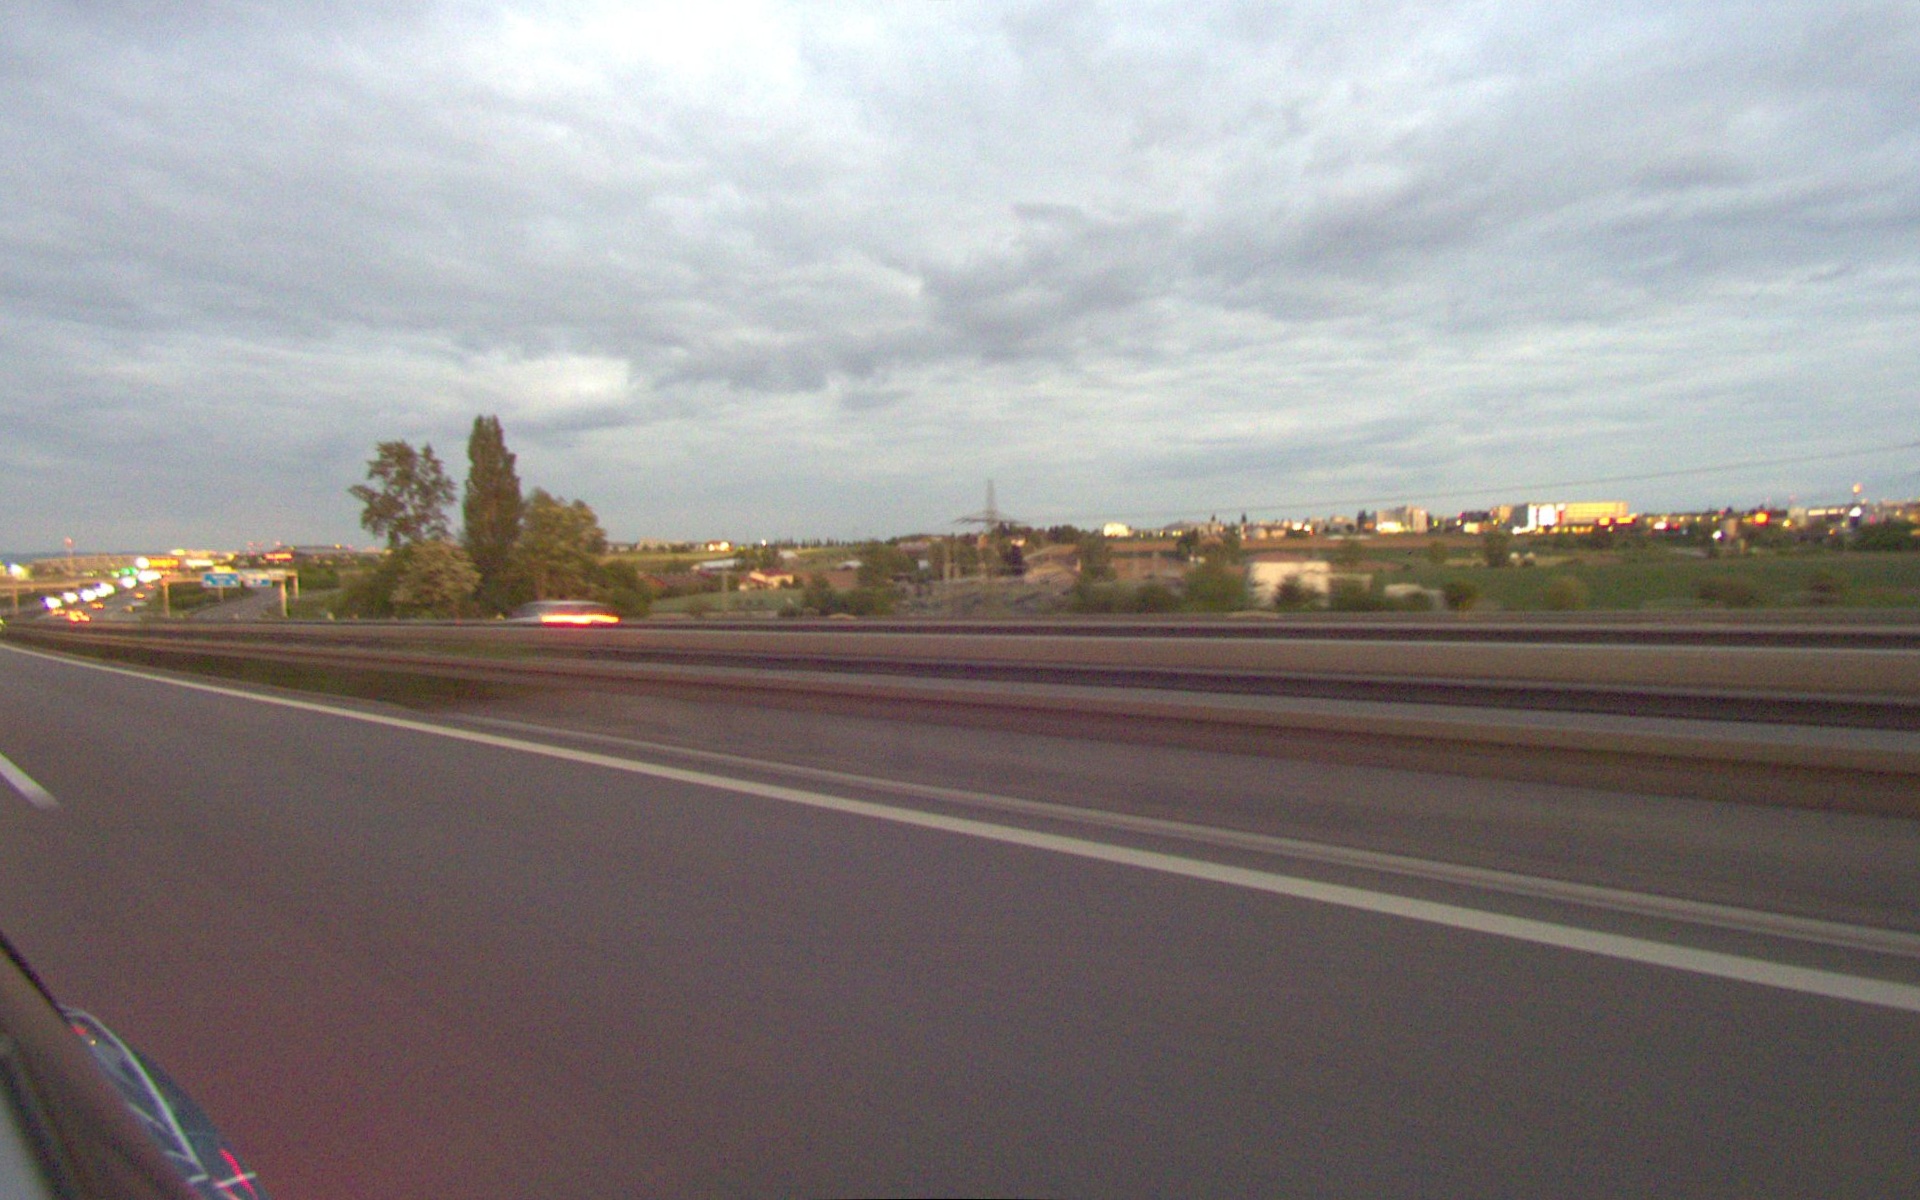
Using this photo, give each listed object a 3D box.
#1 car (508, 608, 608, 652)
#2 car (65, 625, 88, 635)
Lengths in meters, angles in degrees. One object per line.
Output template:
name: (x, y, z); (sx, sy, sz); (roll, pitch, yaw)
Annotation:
car: (-16.406, 1.204, 41.179); (4.845, 1.637, 1.971); (-2, -1, 44)
car: (-133.271, 4.514, 152.698); (4.795, 1.414, 1.973); (-1, -1, 41)
